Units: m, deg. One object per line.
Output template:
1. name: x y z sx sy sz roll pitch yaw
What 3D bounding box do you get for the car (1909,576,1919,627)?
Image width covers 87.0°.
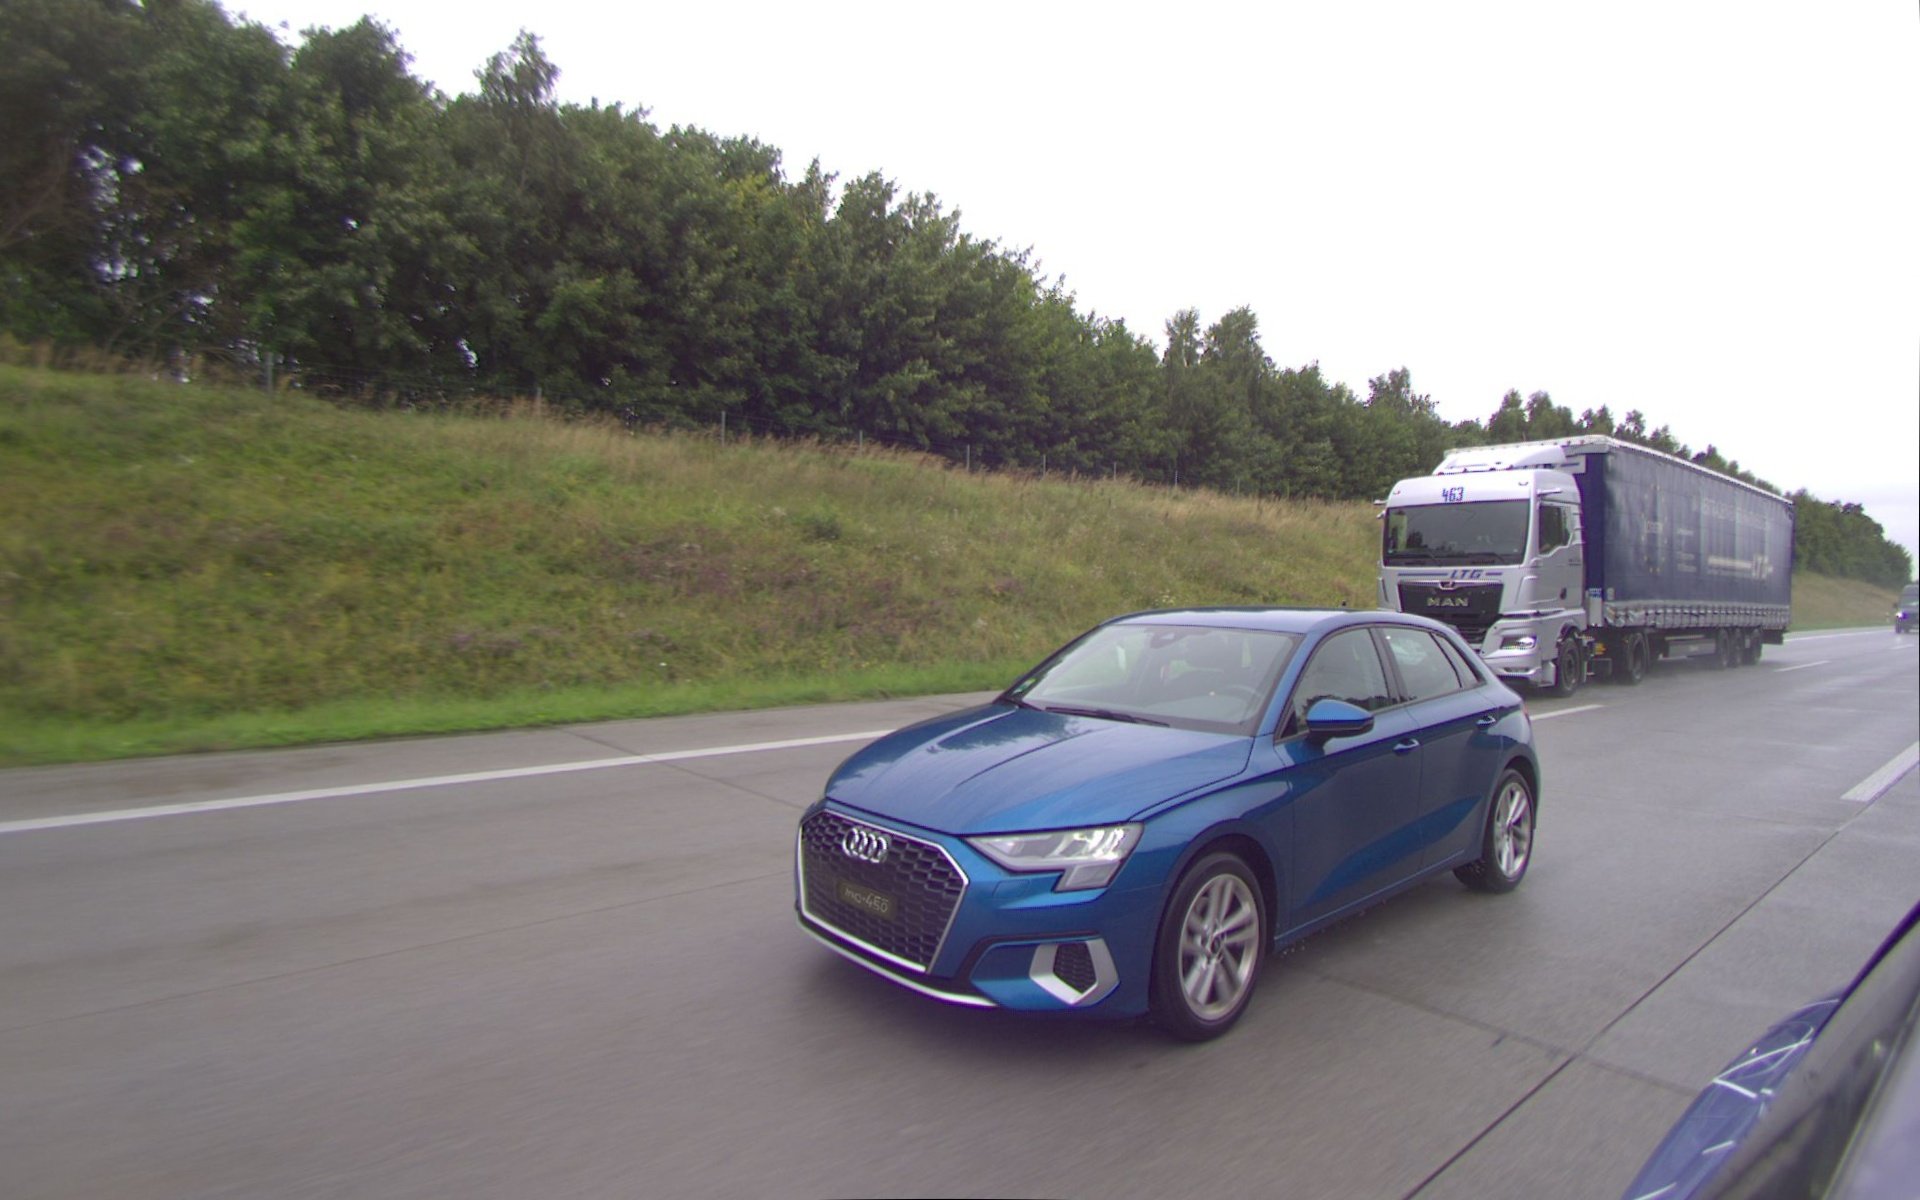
1. car: 53.483 0.135 54.994 6.467 2.693 1.945 1 -1 -40

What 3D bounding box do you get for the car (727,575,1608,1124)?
1. car: 1.360 0.636 4.895 4.590 1.477 1.733 -1 2 -41

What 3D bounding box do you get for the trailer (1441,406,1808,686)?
1. trailer: 15.125 -0.832 21.974 14.937 4.435 2.711 0 -1 -41

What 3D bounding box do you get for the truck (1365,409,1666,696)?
1. truck: 9.414 -0.655 16.943 5.585 4.004 2.641 1 -1 -41
